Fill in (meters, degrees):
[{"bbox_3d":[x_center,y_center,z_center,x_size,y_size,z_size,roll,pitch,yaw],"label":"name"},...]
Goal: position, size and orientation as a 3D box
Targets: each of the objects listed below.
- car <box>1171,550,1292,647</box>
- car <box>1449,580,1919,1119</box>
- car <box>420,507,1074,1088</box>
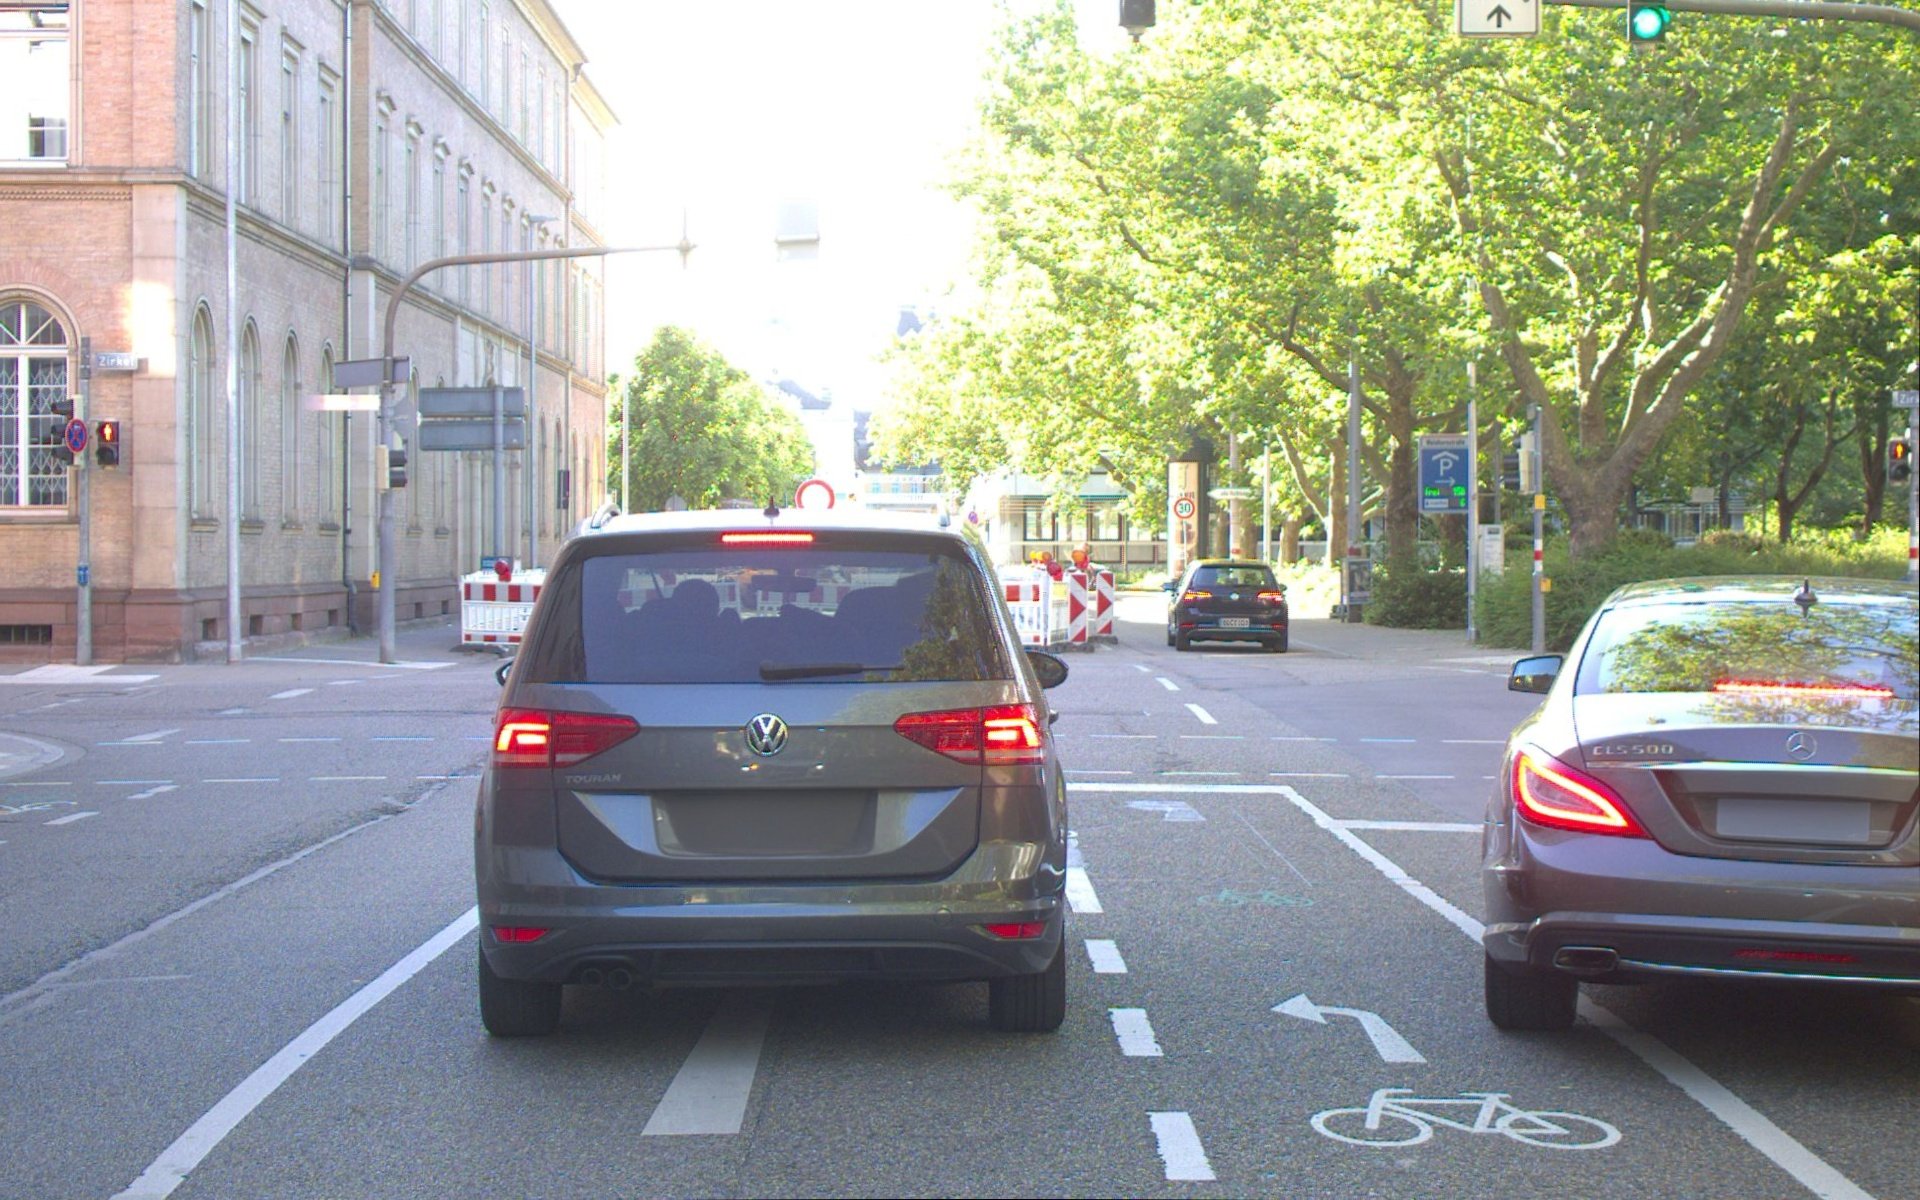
[{"bbox_3d":[4.249,-0.042,54.283,1.689,1.435,3.902,1,1,2],"label":"car"},{"bbox_3d":[2.791,0.667,11.578,1.844,1.424,4.515,1,1,13],"label":"car"},{"bbox_3d":[-0.558,0.527,11.541,1.809,1.607,4.000,0,1,1],"label":"car"}]
